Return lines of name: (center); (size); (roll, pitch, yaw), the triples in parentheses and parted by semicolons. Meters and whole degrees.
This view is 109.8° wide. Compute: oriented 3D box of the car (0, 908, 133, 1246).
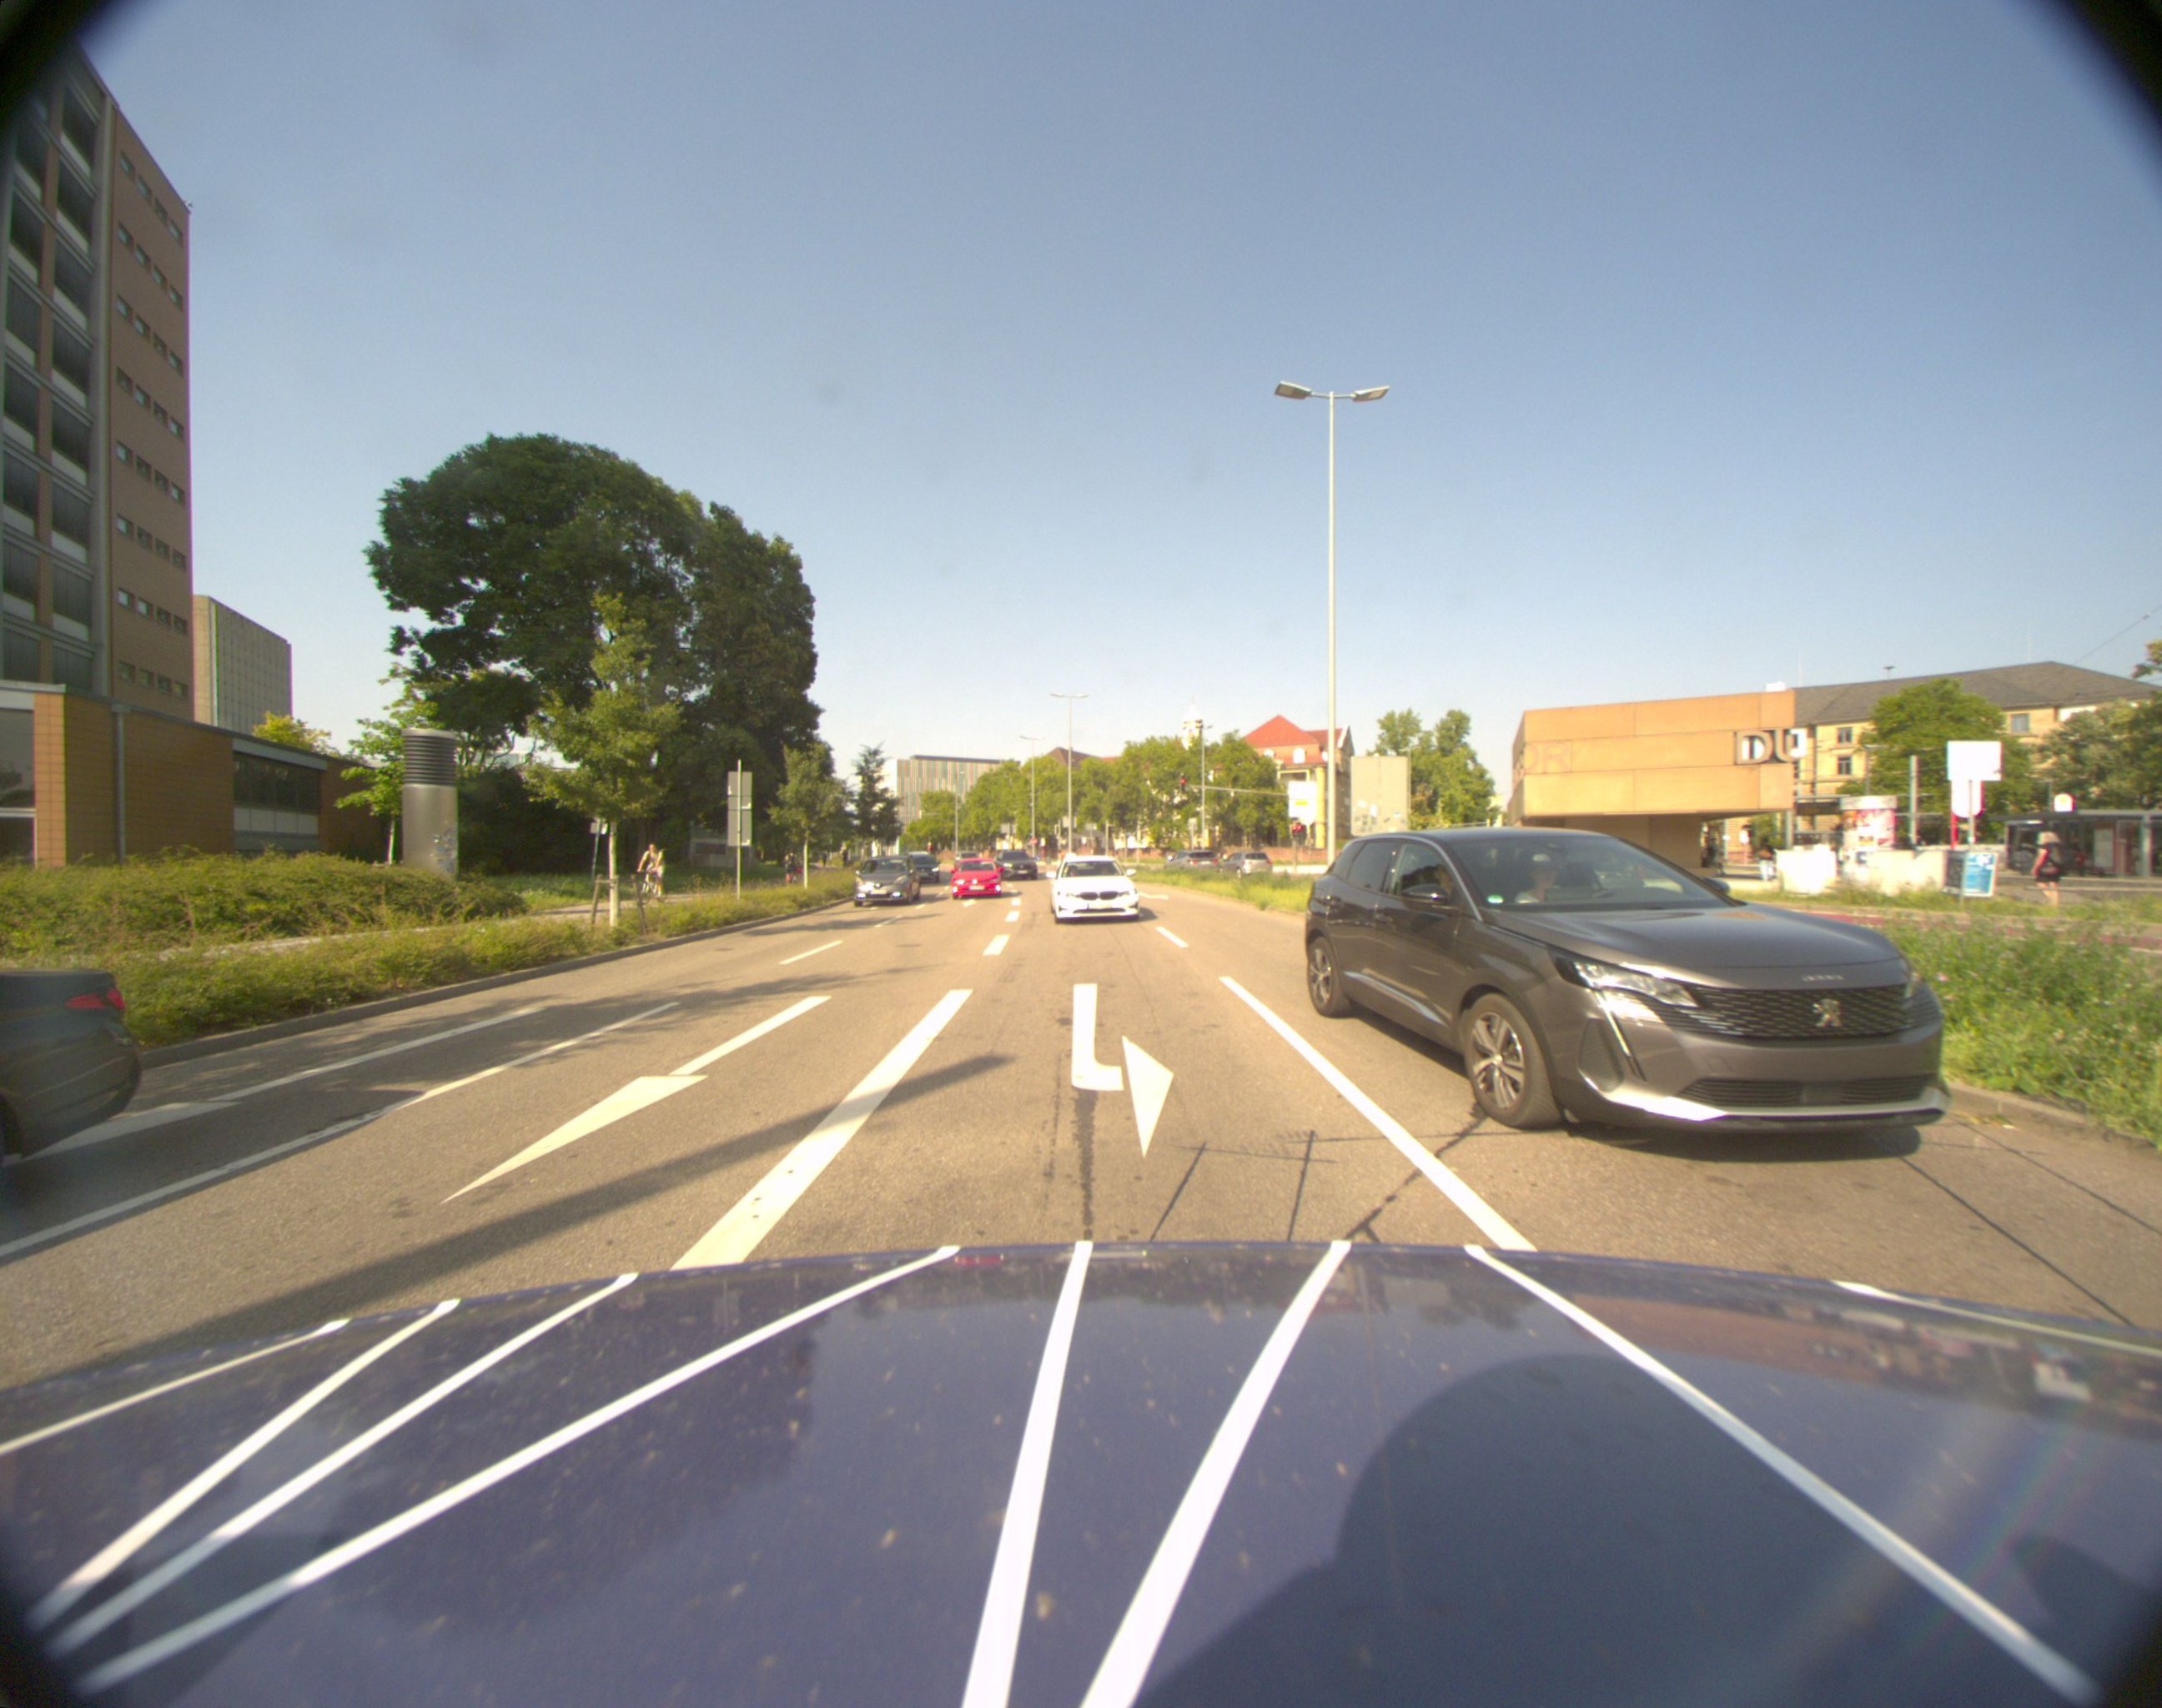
car: (-5.750, 1.044, 1.552); (1.687, 1.483, 4.673); (-1, 0, 1)

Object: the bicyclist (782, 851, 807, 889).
bicyclist: (-11.673, 0.651, 30.989); (0.721, 1.504, 1.004); (0, 1, -6)

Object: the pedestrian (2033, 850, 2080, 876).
pedestrian: (42.651, 0.378, 33.232); (1.028, 1.127, 0.739); (0, 1, 20)

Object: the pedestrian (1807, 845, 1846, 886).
pedestrian: (28.226, 0.424, 28.790); (0.863, 1.550, 0.992); (0, 1, 34)

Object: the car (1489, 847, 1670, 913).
car: (12.135, 0.569, 18.816); (1.894, 1.443, 3.673); (0, 0, -5)

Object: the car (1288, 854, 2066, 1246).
car: (2.935, 0.752, 5.141); (1.687, 1.483, 4.371); (0, 0, -3)

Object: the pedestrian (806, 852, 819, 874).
pedestrian: (-17.994, 0.609, 50.903); (0.727, 1.435, 0.856); (-1, 1, -13)

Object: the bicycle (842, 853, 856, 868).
bicycle: (-17.618, 0.494, 57.754); (0.774, 1.111, 2.301); (-1, 1, -13)

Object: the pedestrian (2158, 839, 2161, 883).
pedestrian: (43.520, 0.282, 29.968); (0.829, 1.728, 0.837); (0, 1, 20)

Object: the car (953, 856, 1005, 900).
car: (-3.745, 0.828, 28.477); (1.687, 1.483, 4.370); (0, 0, -4)

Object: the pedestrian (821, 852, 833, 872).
pedestrian: (-23.010, 0.731, 68.802); (0.961, 1.772, 1.001); (2, 0, -14)

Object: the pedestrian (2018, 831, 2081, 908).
pedestrian: (23.334, 0.363, 18.317); (0.699, 1.790, 0.781); (0, 1, 33)

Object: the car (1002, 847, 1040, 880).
car: (-3.483, 0.550, 43.430); (1.784, 1.682, 4.530); (-3, 0, -8)

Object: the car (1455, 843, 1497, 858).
car: (42.580, -0.338, 81.891); (4.379, 1.624, 1.995); (0, 0, -30)

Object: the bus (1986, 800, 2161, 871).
bus: (48.898, -0.822, 35.894); (3.290, 2.960, 12.820); (0, 1, 28)

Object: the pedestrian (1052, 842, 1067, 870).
pedestrian: (-1.293, 0.118, 46.170); (0.667, 1.645, 0.780); (0, 1, 25)

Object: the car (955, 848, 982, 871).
car: (-9.221, 0.482, 61.955); (1.784, 1.710, 4.528); (-3, 0, -13)

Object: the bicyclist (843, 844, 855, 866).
bicyclist: (-17.599, 0.047, 57.657); (0.774, 1.666, 0.923); (-1, 1, -13)

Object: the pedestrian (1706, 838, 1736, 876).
pedestrian: (28.902, 0.136, 34.329); (0.864, 1.695, 0.733); (0, 1, 24)

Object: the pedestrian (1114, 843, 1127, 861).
pedestrian: (4.538, -0.270, 87.948); (1.080, 2.002, 1.316); (-1, 1, -20)

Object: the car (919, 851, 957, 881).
car: (-8.124, 0.678, 43.582); (1.941, 1.597, 4.530); (-1, 0, -9)

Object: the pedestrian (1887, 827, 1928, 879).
pedestrian: (28.568, -0.034, 26.283); (0.699, 1.790, 0.781); (0, 1, 25)

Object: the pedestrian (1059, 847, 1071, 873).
pedestrian: (-1.008, 0.380, 48.857); (0.669, 1.689, 0.691); (0, 1, -11)

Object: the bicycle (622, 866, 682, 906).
bicycle: (-12.942, 0.936, 23.010); (0.773, 1.111, 2.302); (-1, 1, -8)

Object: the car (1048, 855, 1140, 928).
car: (0.179, 0.774, 17.945); (1.783, 1.474, 4.531); (0, 0, -4)

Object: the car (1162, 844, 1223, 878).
car: (5.709, 0.321, 39.345); (1.700, 1.608, 4.456); (0, 1, -12)

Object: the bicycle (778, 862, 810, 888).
bicycle: (-11.675, 0.842, 30.959); (0.721, 0.954, 1.920); (0, 1, -6)

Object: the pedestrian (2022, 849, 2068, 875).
pedestrian: (43.097, 0.347, 33.981); (1.028, 1.127, 0.739); (0, 1, 20)

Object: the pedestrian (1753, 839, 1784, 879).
pedestrian: (28.746, 0.203, 31.778); (0.717, 1.621, 0.858); (0, 1, 26)

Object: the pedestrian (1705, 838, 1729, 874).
pedestrian: (30.968, 0.109, 37.005); (0.717, 1.727, 0.858); (0, 1, 26)

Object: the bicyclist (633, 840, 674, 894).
bicyclist: (-12.952, 0.387, 23.039); (0.773, 1.584, 0.923); (-1, 1, -8)

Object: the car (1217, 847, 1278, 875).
car: (8.838, 0.347, 40.671); (1.819, 1.425, 4.221); (0, 1, -9)

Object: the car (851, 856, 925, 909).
car: (-6.437, 0.883, 25.793); (1.783, 1.596, 4.419); (-2, 0, -6)

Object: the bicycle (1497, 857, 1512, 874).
bicycle: (21.687, 0.595, 38.929); (0.591, 0.833, 1.550); (-3, -1, 29)

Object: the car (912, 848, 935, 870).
car: (-13.917, 0.428, 67.162); (1.689, 1.930, 4.366); (0, 0, -15)
